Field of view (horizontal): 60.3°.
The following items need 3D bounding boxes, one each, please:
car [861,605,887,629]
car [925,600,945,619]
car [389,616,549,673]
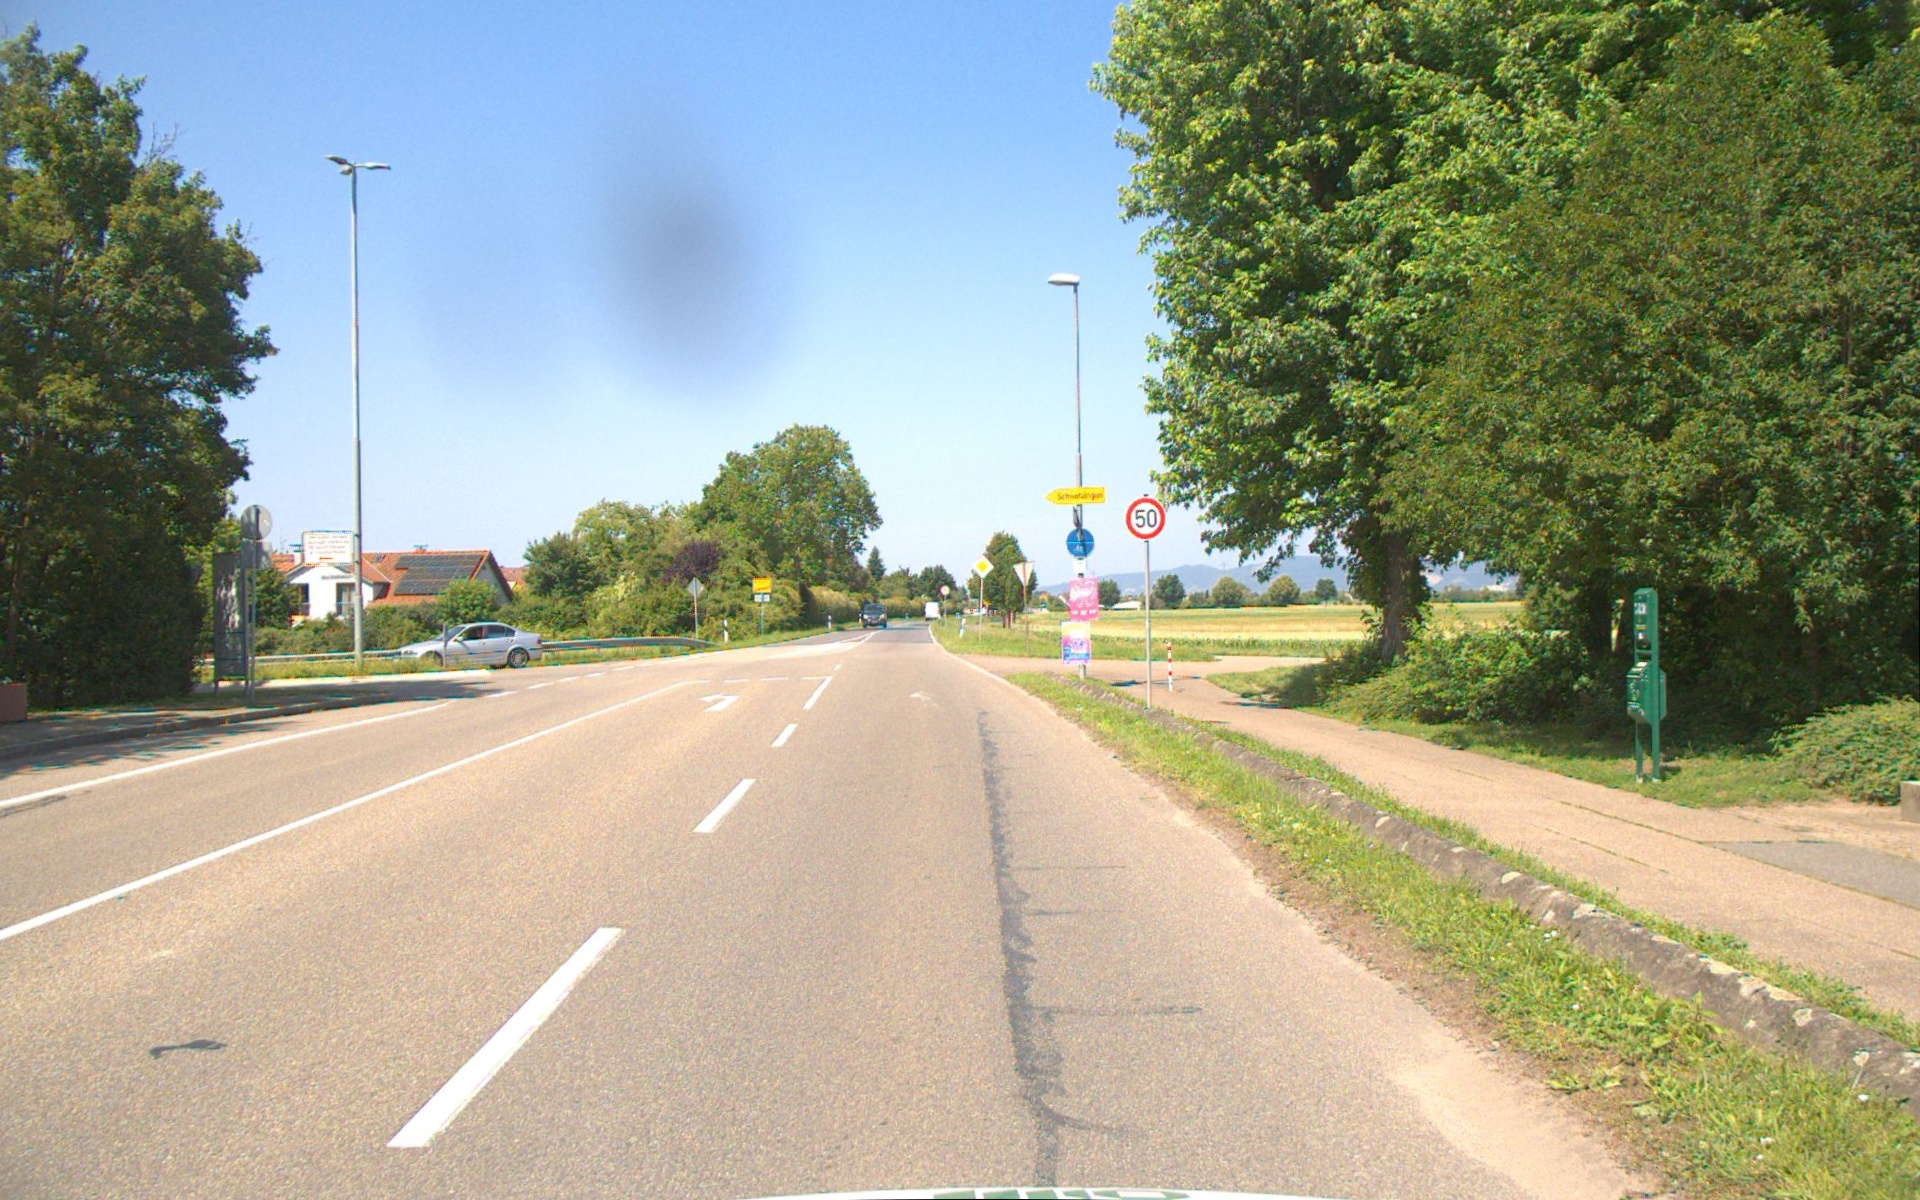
[{"bbox_3d":[-7.331,1.418,141.434,2.101,1.985,5.244,-2,0,-3],"label":"car"},{"bbox_3d":[-3.563,1.356,239.213,1.951,2.697,4.004,-2,0,13],"label":"car"},{"bbox_3d":[-14.787,1.317,49.881,4.361,1.496,1.623,-2,0,-33],"label":"car"}]
